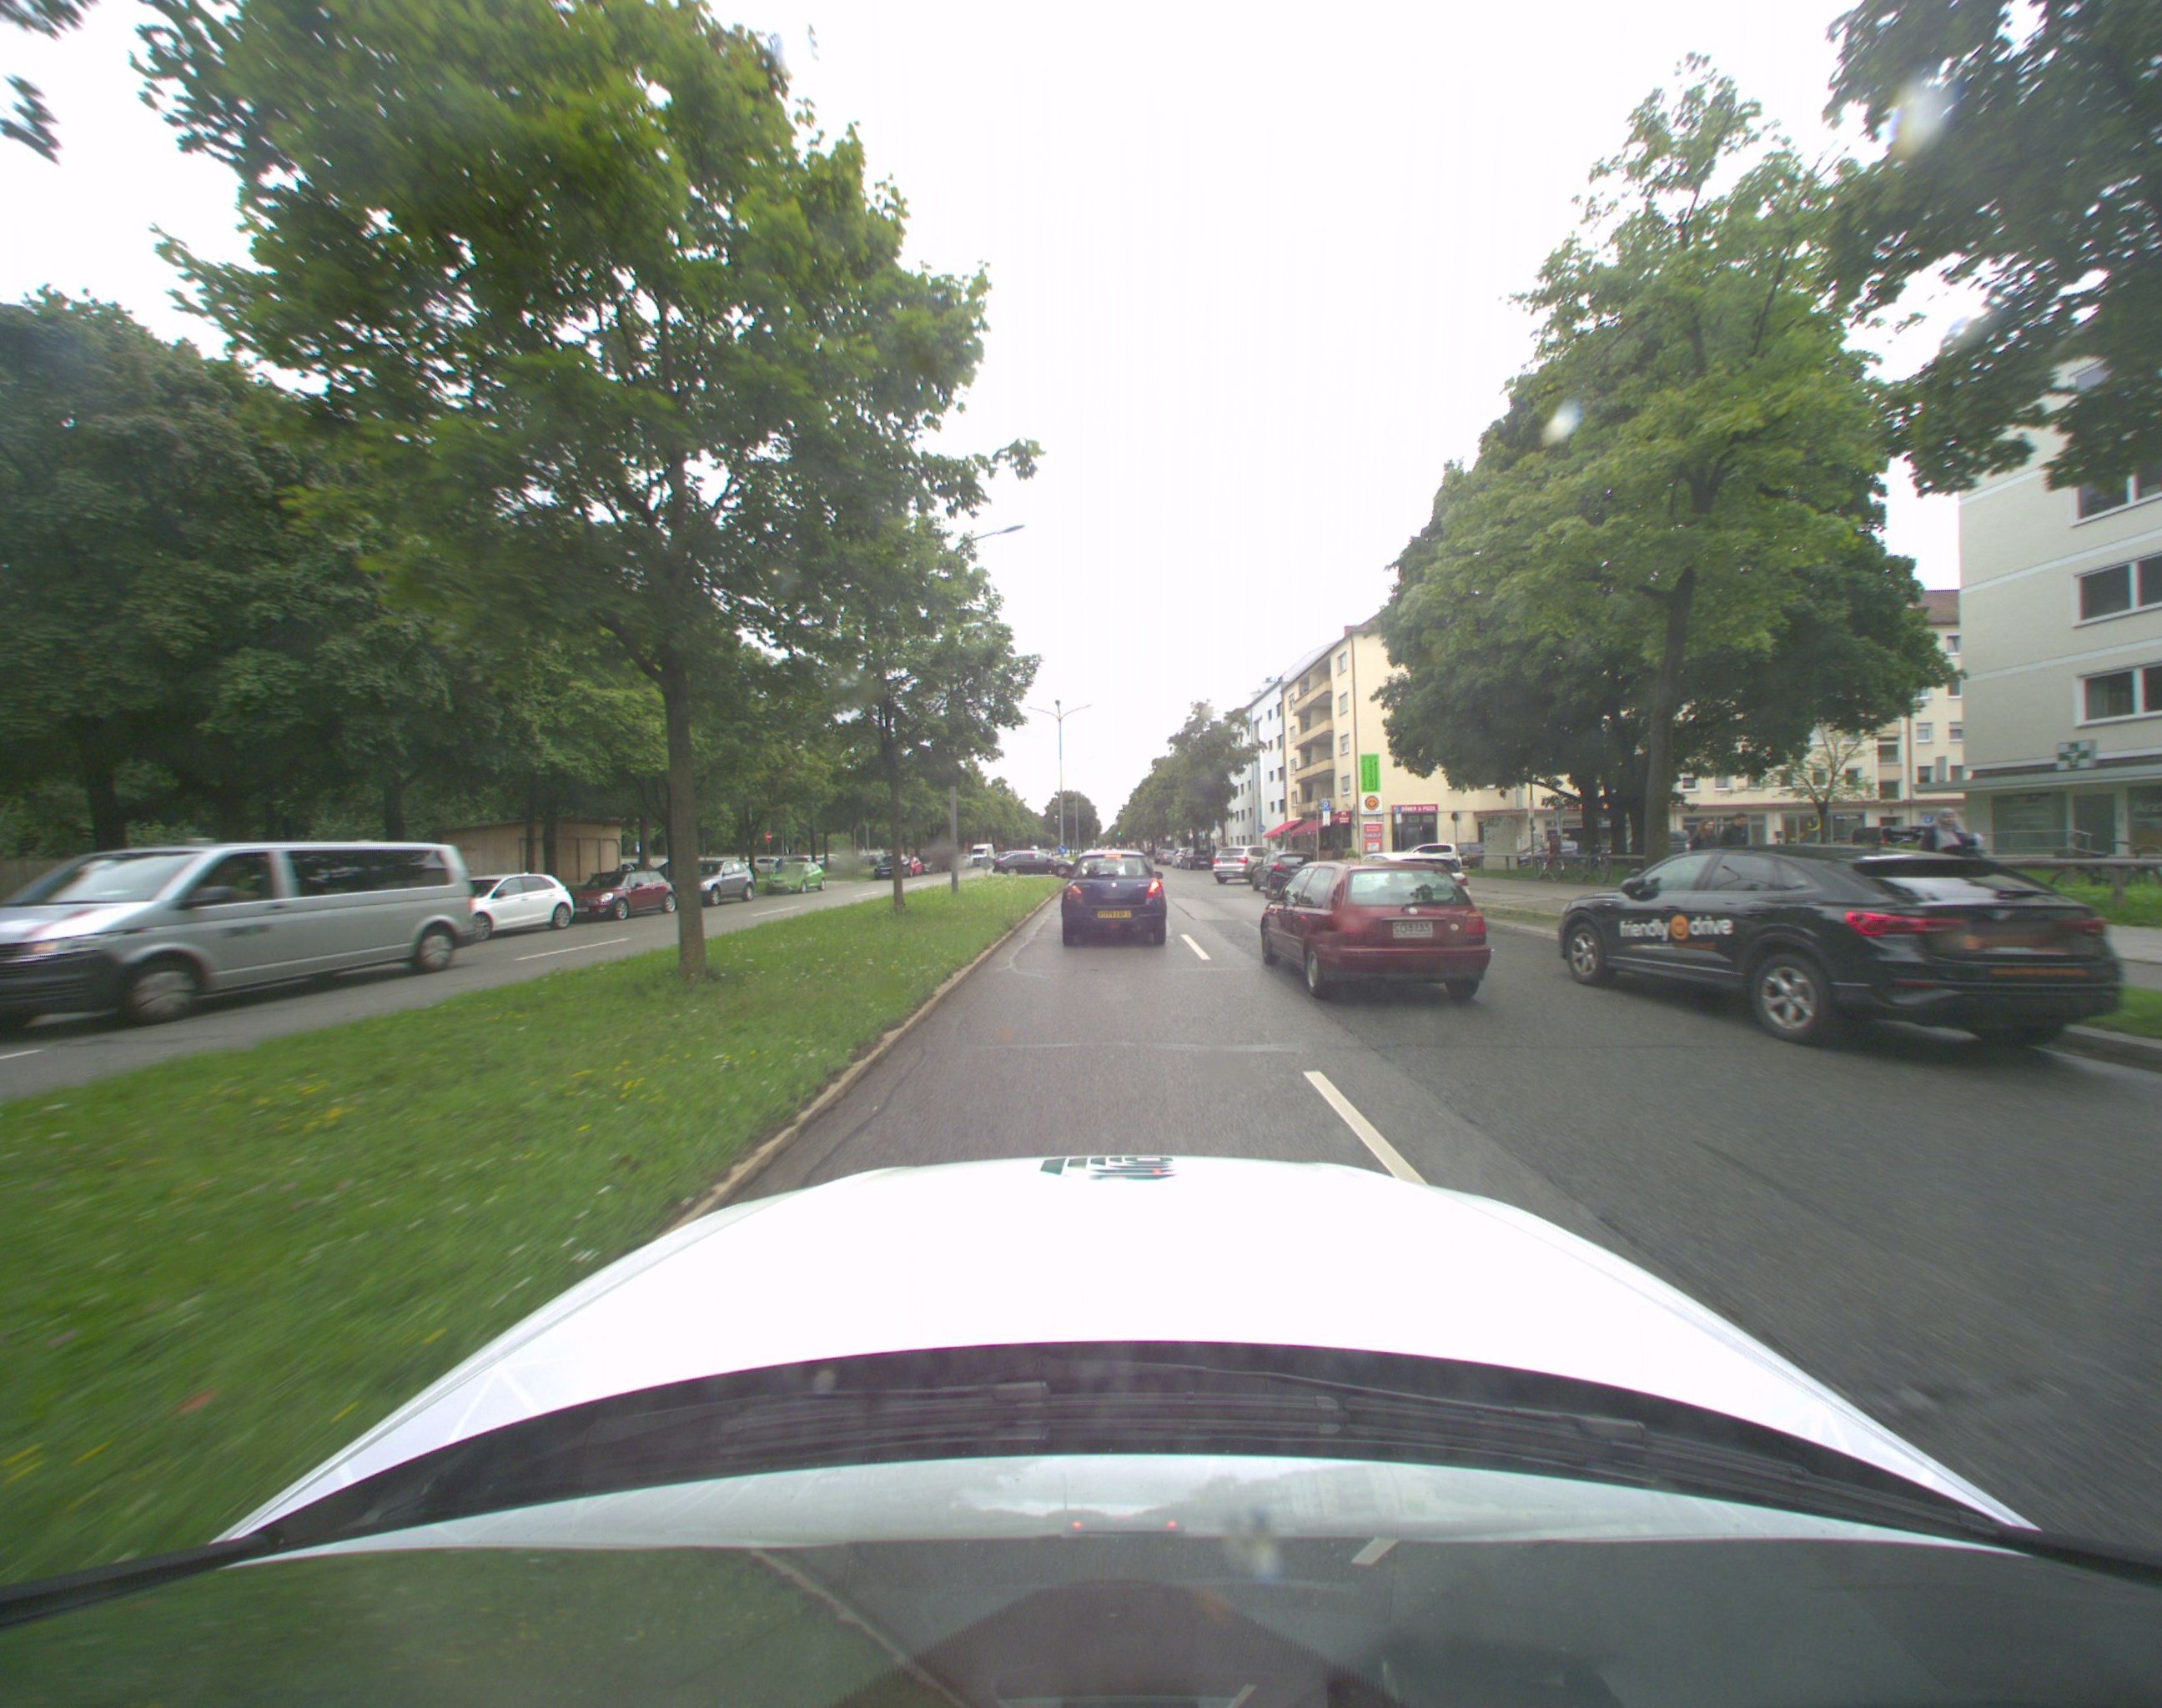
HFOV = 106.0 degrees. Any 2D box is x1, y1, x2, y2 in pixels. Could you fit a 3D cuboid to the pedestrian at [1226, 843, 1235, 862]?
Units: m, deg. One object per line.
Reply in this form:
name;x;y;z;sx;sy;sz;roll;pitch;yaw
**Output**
pedestrian;16.173;-0.160;88.184;0.791;2.013;1.007;-1;0;2

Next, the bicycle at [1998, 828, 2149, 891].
bicycle;16.357;0.083;13.441;1.869;0.973;0.433;-2;0;3

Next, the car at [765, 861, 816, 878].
car;-25.315;1.363;71.016;3.858;1.445;1.670;-1;0;-4

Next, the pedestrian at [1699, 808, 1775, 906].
pedestrian;13.182;0.052;16.393;0.727;1.889;0.919;-2;0;0

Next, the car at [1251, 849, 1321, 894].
car;7.033;0.557;28.261;1.611;1.465;3.675;0;0;1

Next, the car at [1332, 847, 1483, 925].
car;6.941;0.601;17.782;1.676;1.465;4.138;1;0;1

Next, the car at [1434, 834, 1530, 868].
car;22.059;-0.188;44.920;4.383;1.661;1.870;-2;0;-3

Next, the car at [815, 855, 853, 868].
car;-28.015;0.877;92.549;3.858;1.445;1.670;-1;0;-4

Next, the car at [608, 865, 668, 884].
car;-29.467;1.365;54.137;4.363;1.201;1.683;-1;0;33

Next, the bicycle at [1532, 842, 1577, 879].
bicycle;14.710;0.200;25.360;0.387;1.105;1.855;-1;0;3

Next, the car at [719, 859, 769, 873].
car;-36.194;1.309;87.488;4.673;1.445;1.673;-1;0;2

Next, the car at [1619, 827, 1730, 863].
car;32.811;-0.507;45.103;4.720;1.773;1.871;-2;0;0

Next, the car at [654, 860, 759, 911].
car;-13.573;1.082;29.814;1.685;1.586;4.372;-3;0;1

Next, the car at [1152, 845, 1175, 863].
car;8.259;-0.043;81.546;1.859;1.682;4.224;-2;0;0

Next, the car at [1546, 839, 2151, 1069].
car;6.344;0.650;7.576;1.710;1.533;4.277;0;0;2

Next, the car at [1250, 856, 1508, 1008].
car;3.166;0.725;9.502;1.676;1.383;3.920;0;0;2

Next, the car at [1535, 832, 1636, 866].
car;27.706;-0.263;44.806;4.381;1.661;1.870;-2;0;-2

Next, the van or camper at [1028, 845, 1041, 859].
van or camper;-11.142;-0.433;193.878;2.552;3.296;6.938;-1;0;1

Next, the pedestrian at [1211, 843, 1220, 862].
pedestrian;14.519;-0.128;88.085;0.791;2.013;1.007;-1;0;2

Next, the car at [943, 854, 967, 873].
car;-11.997;0.906;77.564;1.627;1.741;3.879;-1;0;1

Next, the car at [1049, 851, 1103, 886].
car;-0.284;0.618;37.489;1.684;1.463;3.717;-1;0;-13

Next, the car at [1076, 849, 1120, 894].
car;0.597;0.578;28.917;1.439;1.483;3.107;-1;0;1

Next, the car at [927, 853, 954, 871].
car;-12.236;0.688;71.189;1.585;1.558;3.879;-1;0;1

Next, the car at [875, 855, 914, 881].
car;-12.666;0.918;55.524;1.710;1.741;3.879;-1;0;1

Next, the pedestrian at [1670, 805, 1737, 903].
pedestrian;12.486;-0.008;16.357;0.586;1.889;0.902;-2;0;0

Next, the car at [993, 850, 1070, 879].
car;-2.710;0.550;44.572;4.114;1.468;1.837;-2;0;-5

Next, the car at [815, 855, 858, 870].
car;-25.062;0.884;83.611;3.858;1.445;1.670;-1;0;-4

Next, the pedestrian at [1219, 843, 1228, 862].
pedestrian;15.372;-0.152;88.037;0.791;2.013;1.007;-1;0;2

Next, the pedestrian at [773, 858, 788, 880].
pedestrian;-20.623;1.034;55.924;0.725;1.534;0.721;-1;0;2

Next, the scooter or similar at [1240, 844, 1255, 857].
scooter or similar;17.456;-0.375;85.485;1.028;1.307;2.757;-2;0;2

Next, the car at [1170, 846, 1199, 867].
car;8.106;0.183;63.954;1.785;1.558;4.225;-2;0;1

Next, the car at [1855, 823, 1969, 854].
car;46.423;-0.845;45.549;4.724;1.661;1.870;0;0;-3

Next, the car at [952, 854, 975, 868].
car;-11.932;0.676;82.902;1.627;1.431;3.879;-1;0;1

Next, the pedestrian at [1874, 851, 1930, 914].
pedestrian;12.775;0.440;12.684;0.406;0.949;0.435;-2;0;0

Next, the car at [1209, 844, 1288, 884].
car;7.596;0.394;36.578;1.847;1.661;4.435;0;1;35

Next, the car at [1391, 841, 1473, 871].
car;18.231;0.113;42.456;3.530;1.417;1.875;-2;0;6

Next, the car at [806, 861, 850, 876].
car;-24.950;1.436;80.400;3.858;1.445;1.670;-1;0;-4

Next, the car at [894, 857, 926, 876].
car;-12.778;0.913;61.069;1.585;1.312;3.381;-1;0;1

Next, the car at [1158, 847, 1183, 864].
car;8.379;0.087;76.814;1.859;1.517;4.224;-2;0;0

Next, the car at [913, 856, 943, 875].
car;-12.341;0.904;65.838;1.661;1.445;3.879;-1;0;1

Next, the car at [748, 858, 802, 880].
car;-25.509;1.232;67.937;3.911;1.718;1.670;-1;0;-4

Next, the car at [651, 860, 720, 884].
car;-24.964;1.146;51.357;4.363;1.445;1.973;-1;-1;33

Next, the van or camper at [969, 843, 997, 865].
van or camper;-11.586;0.042;97.086;2.108;2.482;7.453;-1;0;3

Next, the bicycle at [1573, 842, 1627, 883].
bicycle;14.654;0.222;23.053;0.380;1.103;1.885;-1;0;3

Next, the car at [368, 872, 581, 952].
car;-13.928;1.255;19.077;1.601;1.444;4.281;-3;0;2

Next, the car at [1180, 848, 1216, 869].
car;8.383;0.293;58.768;1.860;1.417;4.222;-2;0;-2

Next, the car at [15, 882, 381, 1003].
car;-13.837;1.284;13.176;1.608;1.417;3.896;-3;0;-1

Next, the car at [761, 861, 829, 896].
car;-13.356;1.107;38.244;1.540;1.409;3.884;-3;0;4

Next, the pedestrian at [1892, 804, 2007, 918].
pedestrian;13.438;0.100;12.626;0.836;1.681;0.835;-2;0;0

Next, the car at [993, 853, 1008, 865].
car;-11.010;0.625;111.735;1.627;1.583;3.879;-1;0;1

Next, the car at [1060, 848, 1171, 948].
car;0.553;0.657;14.447;1.676;1.501;3.919;-1;0;1

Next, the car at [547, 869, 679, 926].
car;-13.740;1.229;24.166;1.584;1.397;3.634;-3;0;3

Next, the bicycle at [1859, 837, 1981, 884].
bicycle;17.179;0.129;16.704;1.869;0.940;0.558;0;0;3

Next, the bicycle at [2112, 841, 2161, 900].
bicycle;18.620;0.263;13.725;1.869;0.973;0.433;-1;0;3

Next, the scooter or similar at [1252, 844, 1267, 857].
scooter or similar;17.659;-0.343;80.568;1.028;1.307;2.757;-2;0;2

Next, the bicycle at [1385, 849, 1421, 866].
bicycle;18.560;0.225;46.955;1.841;0.957;0.557;-1;0;0

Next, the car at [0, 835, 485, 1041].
car;-10.362;0.829;10.312;1.793;1.933;4.995;-3;0;1

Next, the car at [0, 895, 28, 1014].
car;-14.218;1.310;7.984;1.756;1.449;4.534;-3;0;1

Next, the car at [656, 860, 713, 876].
car;-37.318;1.333;76.712;4.489;1.476;1.673;-1;0;2

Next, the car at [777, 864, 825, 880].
car;-25.601;1.631;74.547;3.858;1.445;1.670;-1;0;-4
